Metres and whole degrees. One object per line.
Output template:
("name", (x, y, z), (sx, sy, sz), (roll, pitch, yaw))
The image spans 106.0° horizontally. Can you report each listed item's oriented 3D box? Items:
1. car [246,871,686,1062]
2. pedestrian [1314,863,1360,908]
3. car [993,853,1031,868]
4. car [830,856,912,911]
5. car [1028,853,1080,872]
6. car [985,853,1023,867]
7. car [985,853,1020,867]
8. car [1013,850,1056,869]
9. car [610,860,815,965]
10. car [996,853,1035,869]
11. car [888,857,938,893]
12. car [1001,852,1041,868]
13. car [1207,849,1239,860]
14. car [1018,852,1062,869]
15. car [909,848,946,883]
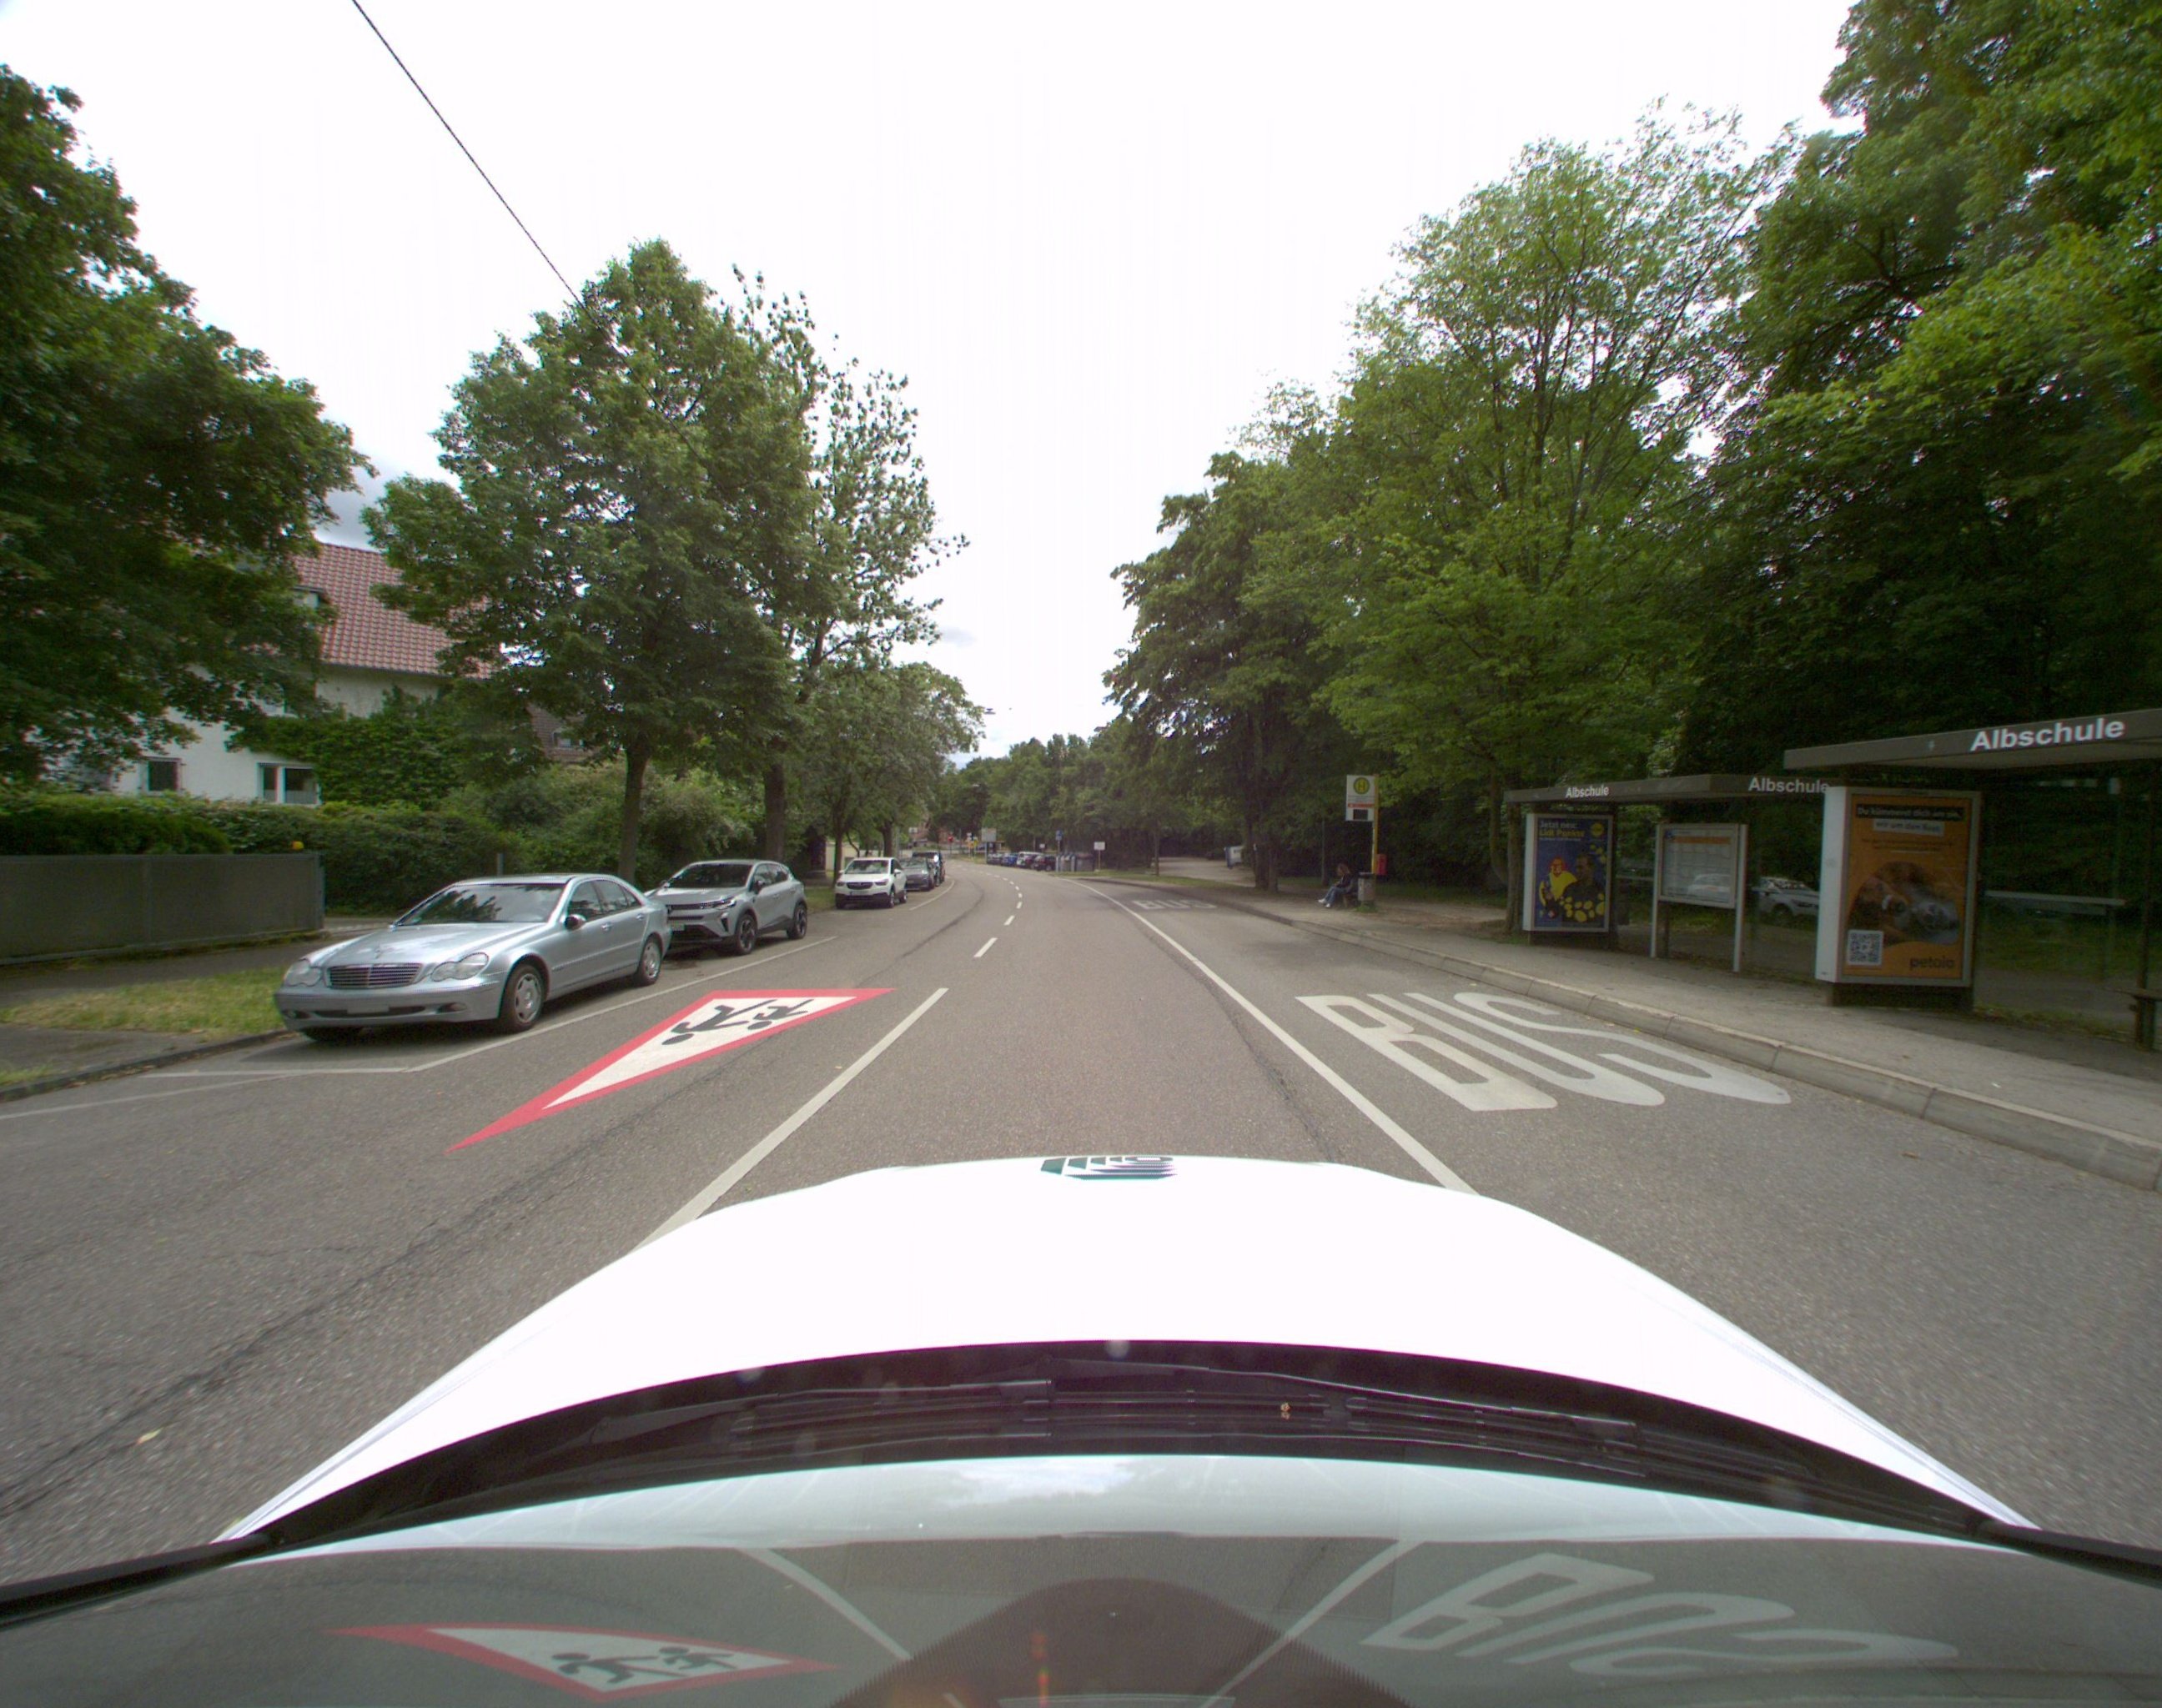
("car", (-6.049, 0.948, 8.843), (1.733, 1.416, 4.462), (-1, 0, -6))
("pedestrian", (6.926, 0.834, 22.046), (1.062, 1.182, 0.579), (0, 0, -6))
("car", (-7.707, 0.701, 90.578), (3.845, 1.528, 1.728), (3, -2, -34))
("car", (-6.704, 0.882, 26.417), (1.732, 1.578, 4.136), (-1, 0, -3))
("car", (-2.319, 0.760, 70.577), (4.015, 1.414, 2.037), (3, 0, -34))
("car", (-8.828, 0.707, 93.539), (3.900, 1.426, 1.811), (3, -2, -34))
("car", (-9.452, 0.736, 98.299), (3.845, 1.425, 1.728), (3, -2, -34))
("car", (-4.608, 0.530, 81.424), (3.845, 1.720, 1.859), (3, -2, -34))
("car", (-6.300, 0.902, 14.518), (1.730, 1.538, 4.189), (-1, 0, 0))
("car", (-7.058, 0.789, 87.973), (3.845, 1.528, 1.728), (3, -2, -34))
("car", (-7.766, 0.925, 38.044), (1.864, 1.538, 4.218), (0, 0, -6))
("car", (-6.319, 0.665, 85.862), (3.845, 1.528, 1.728), (3, -2, -34))
("car", (19.600, 0.094, 112.302), (3.985, 1.409, 1.795), (0, 0, -9))
("car", (-3.992, 0.646, 78.754), (3.845, 1.468, 1.728), (3, 0, -34))
("car", (-8.976, 0.639, 47.976), (1.857, 1.909, 5.068), (0, 0, -8))
